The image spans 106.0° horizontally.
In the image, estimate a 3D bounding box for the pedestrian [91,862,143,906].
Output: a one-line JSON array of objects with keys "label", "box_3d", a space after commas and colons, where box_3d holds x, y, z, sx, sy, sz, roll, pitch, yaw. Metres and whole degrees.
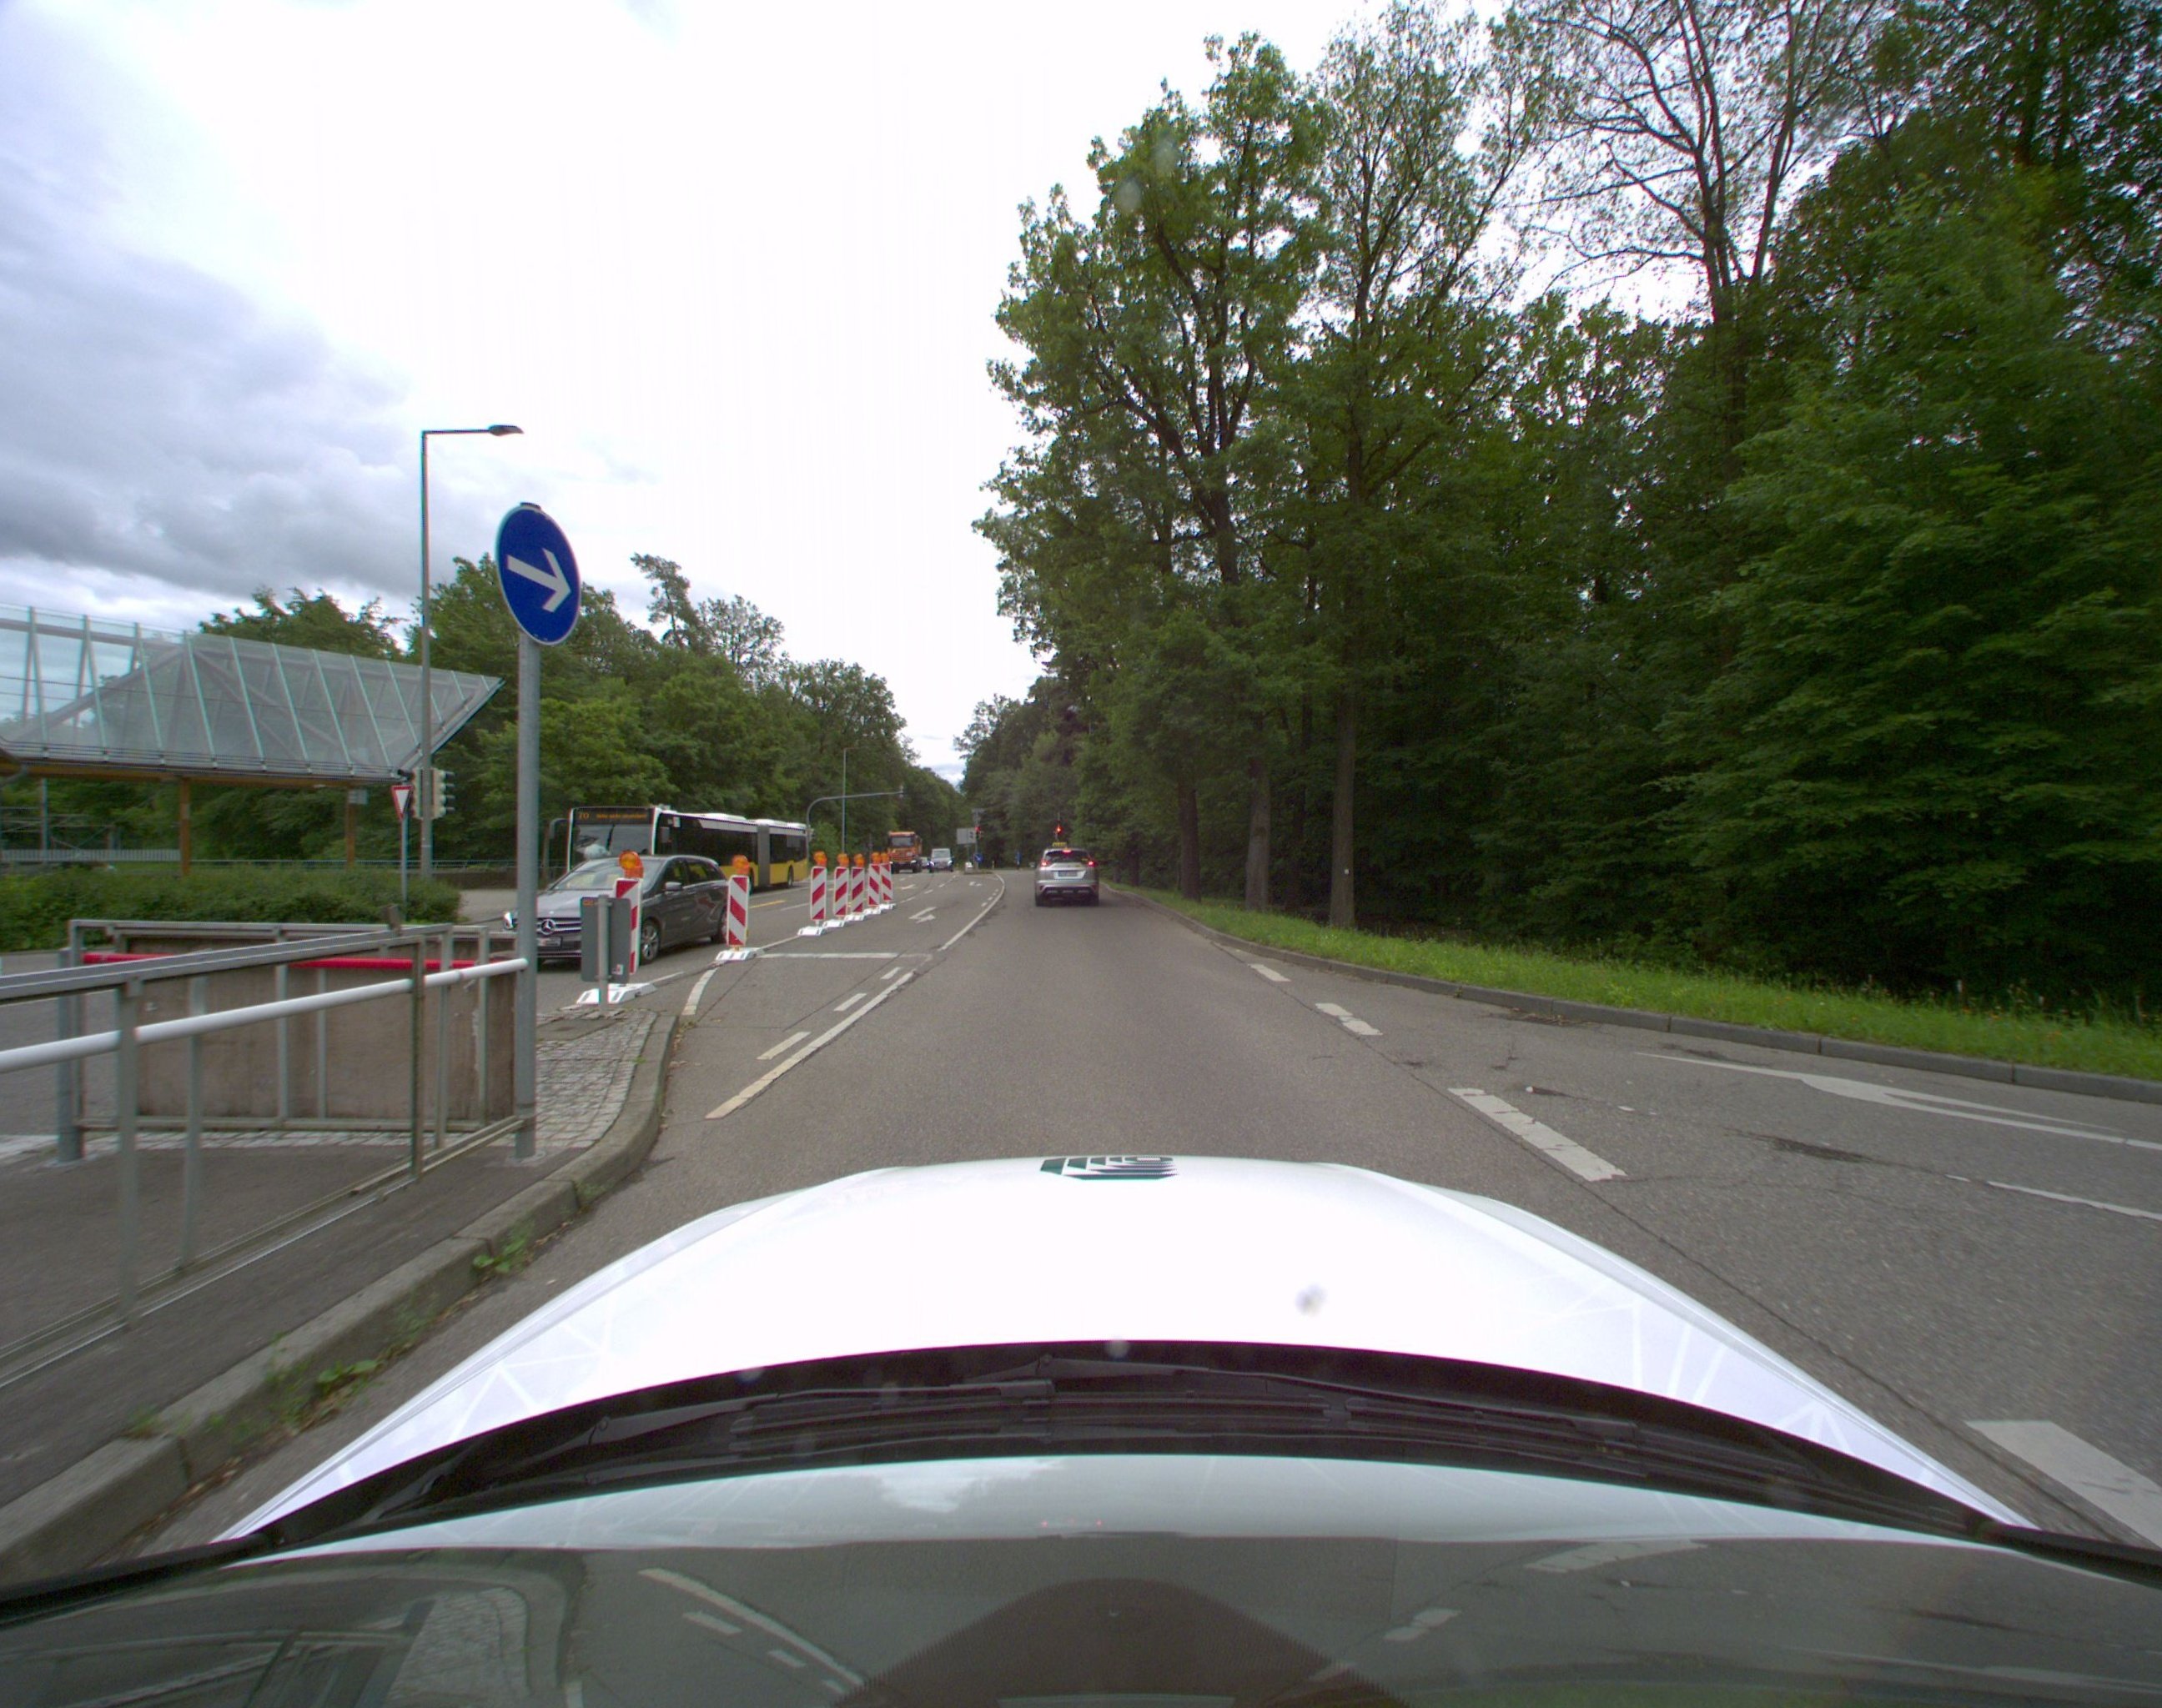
[{"label": "pedestrian", "box_3d": [-22.648, 0.704, 19.139, 0.552, 0.984, 0.568, 2, 0, 12]}]

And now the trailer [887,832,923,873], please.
[{"label": "trailer", "box_3d": [-15.557, -0.083, 72.258, 2.739, 3.318, 8.537, -2, -1, -10]}]

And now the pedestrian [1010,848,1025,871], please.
[{"label": "pedestrian", "box_3d": [-4.583, 0.400, 58.708, 1.044, 1.649, 1.068, -1, 1, -2]}]

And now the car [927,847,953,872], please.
[{"label": "car", "box_3d": [-11.477, 0.457, 66.428, 1.993, 1.893, 4.823, -2, 0, -9]}]

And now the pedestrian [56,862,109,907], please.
[{"label": "pedestrian", "box_3d": [-22.689, 0.689, 18.505, 0.543, 0.984, 0.568, 2, 0, 13]}]

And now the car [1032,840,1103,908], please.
[{"label": "car", "box_3d": [-0.488, 0.530, 24.026, 1.843, 1.780, 3.994, -1, 0, -4]}]

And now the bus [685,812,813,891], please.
[{"label": "bus", "box_3d": [-14.624, -0.091, 36.761, 2.894, 3.127, 8.678, 0, 0, -5]}]

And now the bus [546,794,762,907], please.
[{"label": "bus", "box_3d": [-13.797, -0.084, 27.585, 2.894, 3.127, 9.741, 0, 0, -5]}]

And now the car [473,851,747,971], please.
[{"label": "car", "box_3d": [-6.927, 0.750, 12.621, 1.803, 1.509, 4.305, -1, -1, -1]}]

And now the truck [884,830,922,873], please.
[{"label": "truck", "box_3d": [-14.711, -0.169, 67.580, 2.739, 3.318, 7.133, -2, -1, -10]}]
